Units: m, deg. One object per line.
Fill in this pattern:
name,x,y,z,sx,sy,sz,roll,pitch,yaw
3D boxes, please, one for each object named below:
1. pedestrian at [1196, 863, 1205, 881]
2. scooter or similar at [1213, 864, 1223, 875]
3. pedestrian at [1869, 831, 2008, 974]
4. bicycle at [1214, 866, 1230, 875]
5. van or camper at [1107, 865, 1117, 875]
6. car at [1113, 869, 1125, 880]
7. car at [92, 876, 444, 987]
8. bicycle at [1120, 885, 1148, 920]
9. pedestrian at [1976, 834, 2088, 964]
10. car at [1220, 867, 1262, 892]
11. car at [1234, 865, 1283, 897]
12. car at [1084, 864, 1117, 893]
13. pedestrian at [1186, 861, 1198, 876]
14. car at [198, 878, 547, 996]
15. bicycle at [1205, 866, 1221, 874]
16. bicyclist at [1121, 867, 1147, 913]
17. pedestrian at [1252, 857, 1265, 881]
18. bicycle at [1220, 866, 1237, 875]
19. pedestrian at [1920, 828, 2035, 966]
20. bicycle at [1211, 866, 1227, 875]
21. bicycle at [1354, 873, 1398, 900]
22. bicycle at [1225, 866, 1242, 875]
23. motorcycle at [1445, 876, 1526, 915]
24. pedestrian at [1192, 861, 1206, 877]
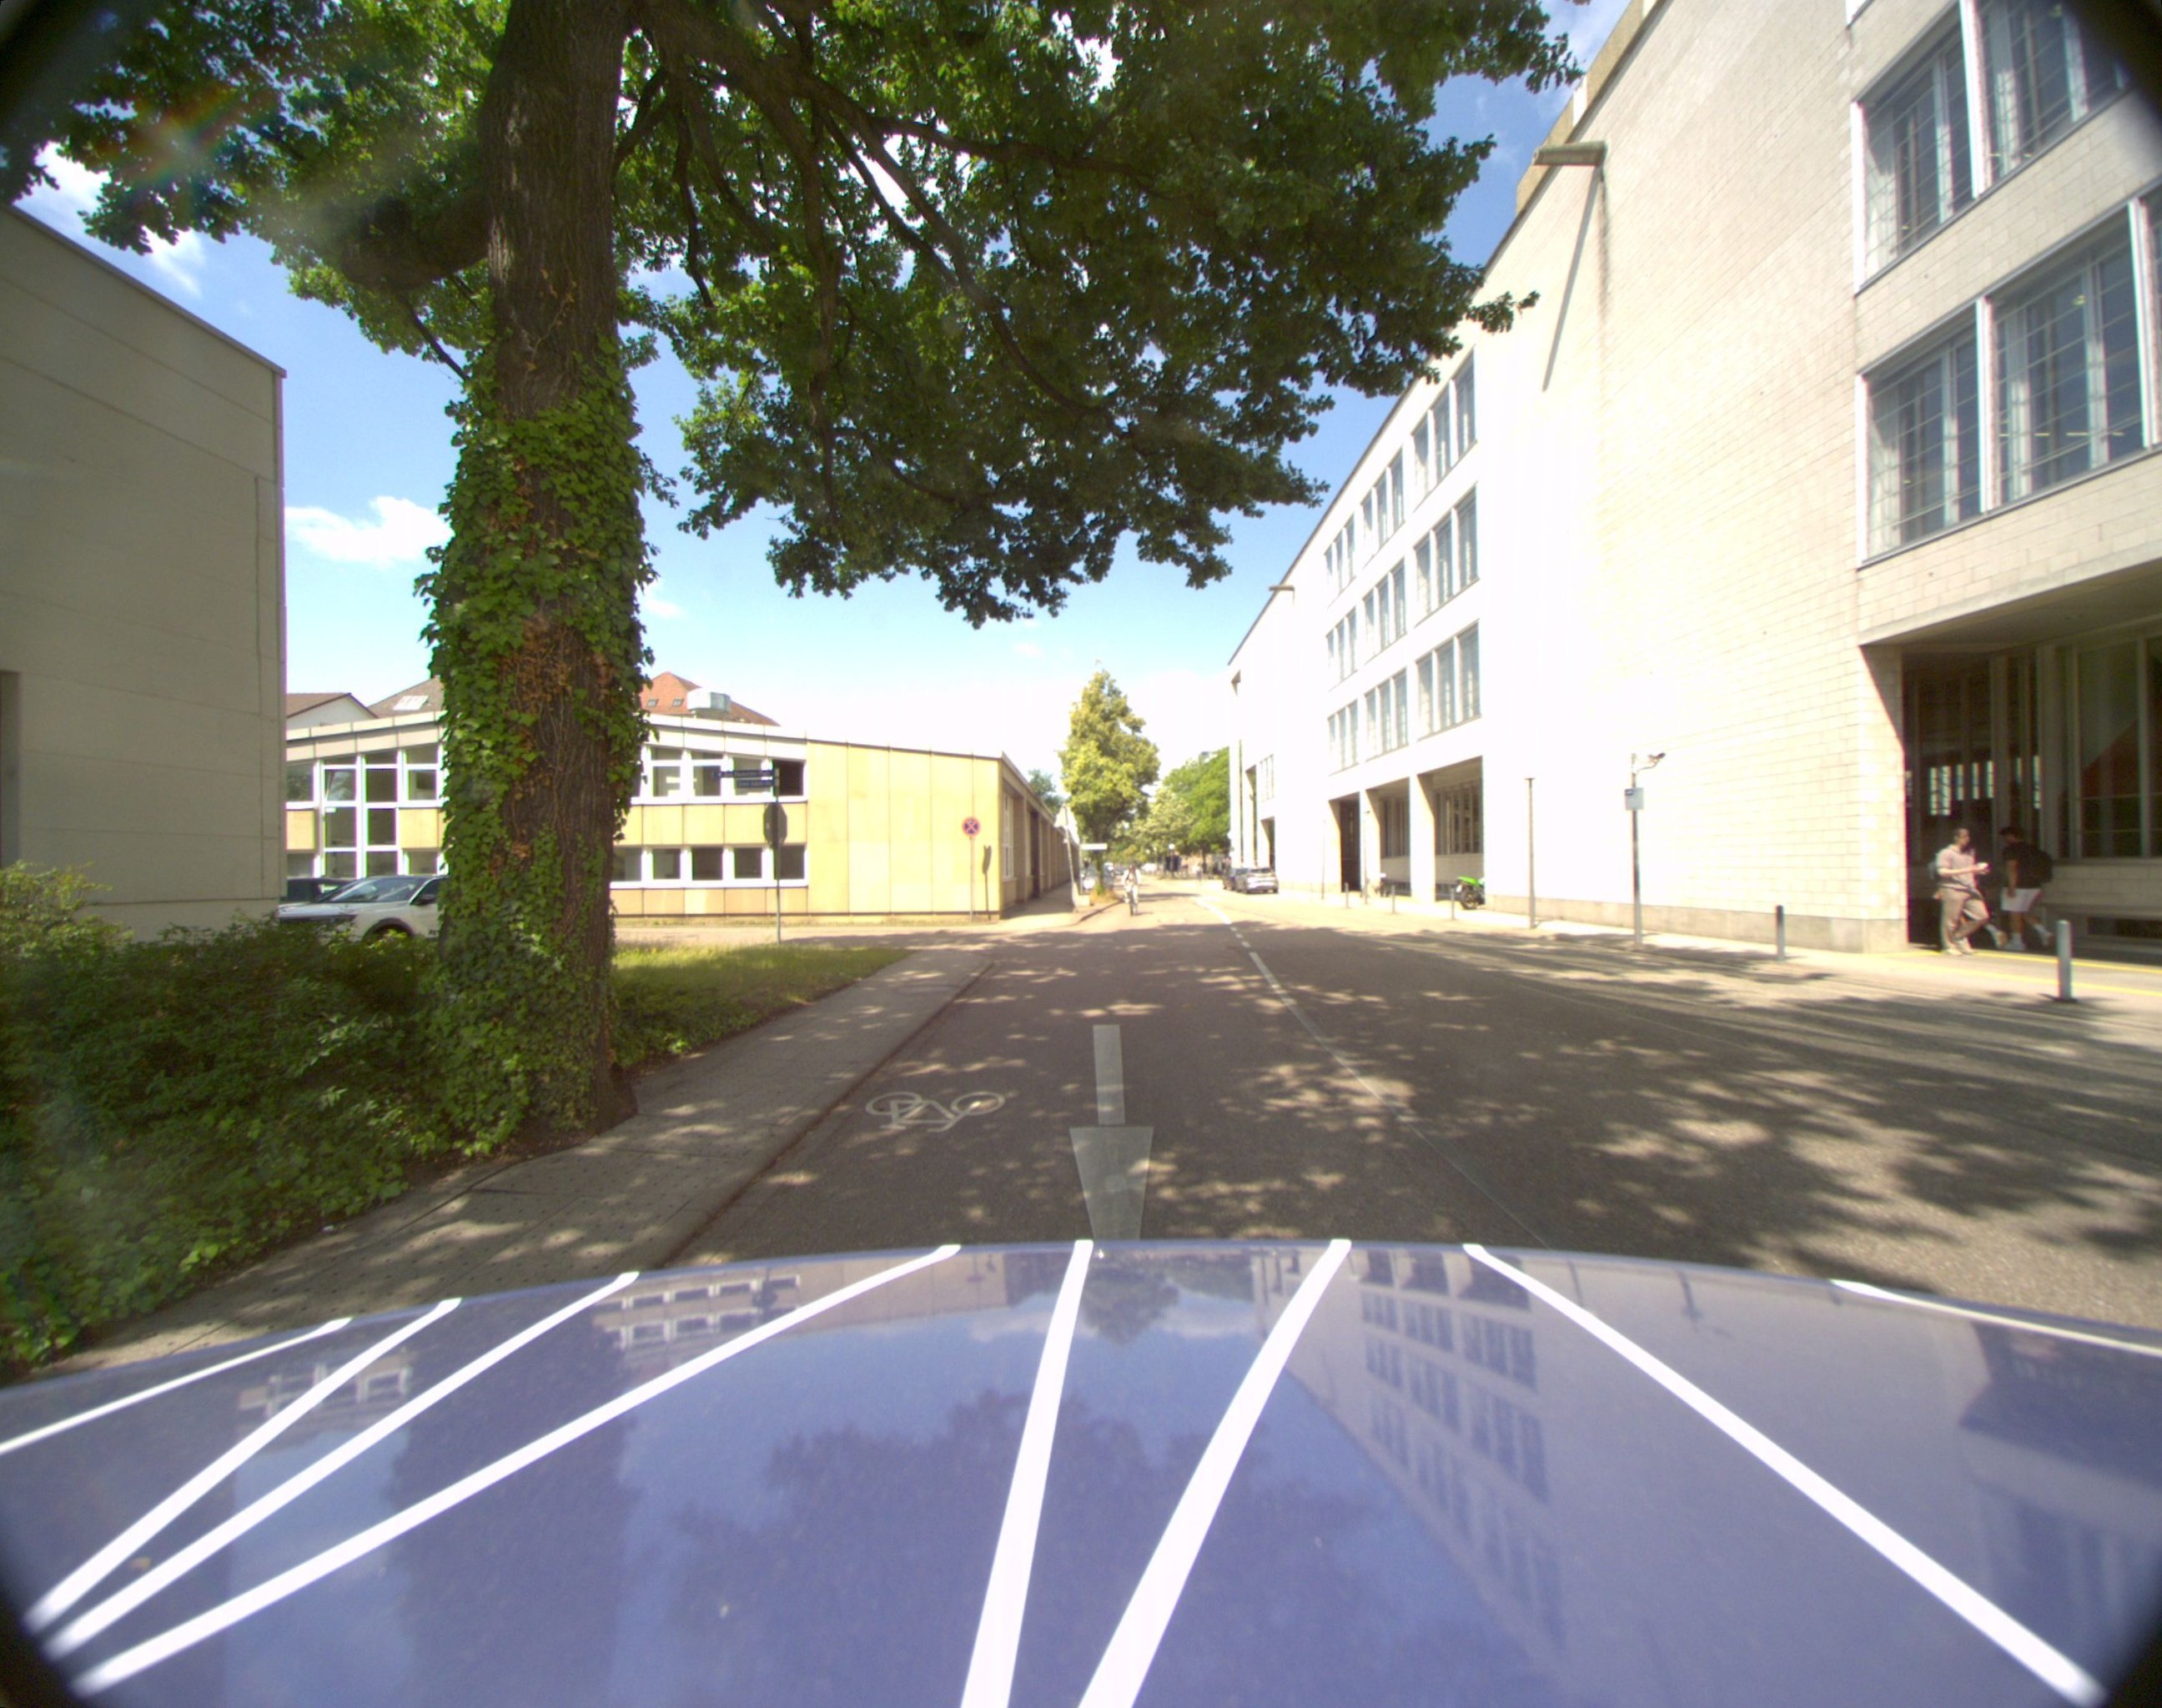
pedestrian,11.731,1.745,74.566,0.760,1.715,1.236,-4,0,12
scooter or similar,14.485,1.635,80.271,0.713,1.184,1.617,-1,1,23
pedestrian,12.628,0.687,11.236,0.850,2.002,1.066,0,0,-1
bicycle,18.325,2.137,98.751,2.127,1.052,0.682,-1,0,-28
van or camper,7.219,3.687,178.655,1.997,2.347,4.386,-1,-1,8
car,6.341,3.376,126.179,1.998,1.805,4.001,-1,-1,2
car,-13.855,1.220,13.372,1.829,1.569,4.001,0,-1,2
bicycle,1.727,1.567,25.046,0.781,1.042,1.913,0,-1,-1
pedestrian,14.281,0.661,11.427,0.733,1.869,0.720,-2,0,1
car,9.901,1.529,47.365,1.730,1.414,4.665,-1,-1,2
car,9.755,1.456,42.071,1.730,1.526,4.406,-3,0,2
car,1.067,1.365,43.076,1.760,1.559,3.818,0,-1,1
pedestrian,15.411,1.951,105.149,1.400,2.002,1.369,-1,0,1
car,-10.986,1.185,12.296,1.671,1.468,4.182,-1,-1,1
bicycle,17.447,2.114,100.631,2.127,1.052,0.621,-1,0,-28
bicyclist,1.731,1.165,24.875,0.781,1.478,0.696,0,0,-1
pedestrian,15.327,1.296,65.628,0.755,2.002,1.081,-1,0,1
bicycle,18.840,2.149,97.263,2.127,1.052,0.682,-1,0,-28
pedestrian,13.489,0.630,11.458,0.700,2.002,0.830,-2,0,1
bicycle,18.031,2.141,99.382,2.127,1.052,0.621,-1,0,-28
bicycle,12.708,1.389,32.704,1.643,1.080,0.608,-2,0,-4
bicycle,19.303,2.085,96.375,2.127,1.100,0.682,-1,0,-28
motorcycle,12.526,1.281,23.535,2.173,1.131,0.774,-1,0,-9
pedestrian,13.886,1.771,89.704,1.400,1.813,1.369,-1,0,1
